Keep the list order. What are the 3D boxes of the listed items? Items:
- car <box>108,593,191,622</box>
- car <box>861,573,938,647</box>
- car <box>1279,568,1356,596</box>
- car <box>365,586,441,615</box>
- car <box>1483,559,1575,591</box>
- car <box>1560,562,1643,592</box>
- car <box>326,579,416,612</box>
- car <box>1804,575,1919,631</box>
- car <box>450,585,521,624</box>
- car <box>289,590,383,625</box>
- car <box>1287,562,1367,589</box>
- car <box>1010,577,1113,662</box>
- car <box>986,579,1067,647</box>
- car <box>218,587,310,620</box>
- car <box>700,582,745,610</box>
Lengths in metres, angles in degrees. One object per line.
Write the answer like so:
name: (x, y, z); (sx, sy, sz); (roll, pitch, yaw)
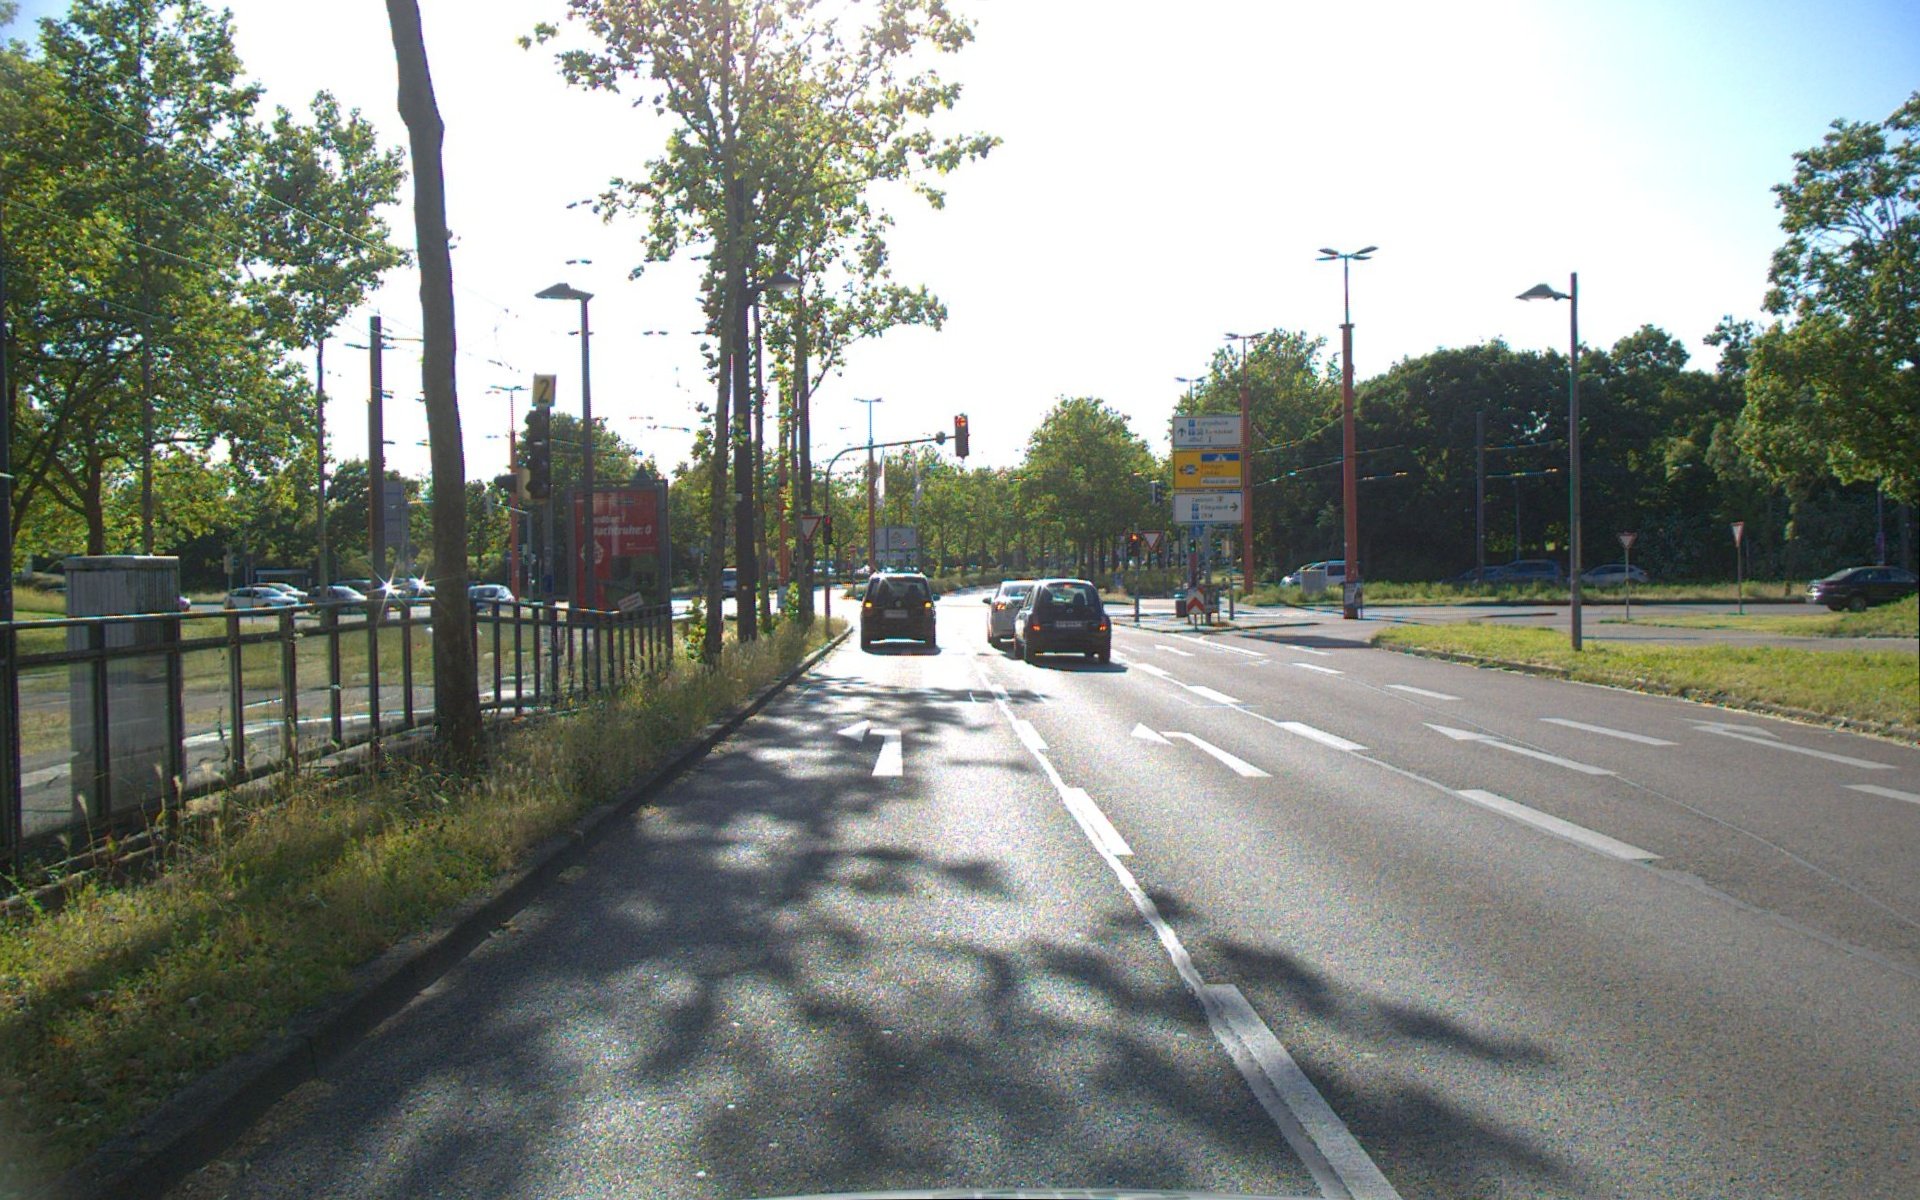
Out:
car: (-45.438, 0.410, 92.763); (3.949, 1.461, 1.817); (-1, 3, 17)
car: (-1.412, 0.208, 37.954); (1.676, 1.631, 3.348); (0, 0, -3)
car: (19.820, -1.002, 91.633); (3.907, 1.502, 1.788); (1, 0, 24)
car: (-33.056, 0.018, 98.153); (3.903, 1.649, 1.901); (0, 1, 17)
car: (28.812, -1.247, 83.738); (4.263, 1.586, 1.872); (1, 0, 23)
car: (33.025, -1.194, 85.152); (3.907, 1.521, 1.860); (1, 0, 25)
car: (-32.598, -0.231, 91.525); (4.390, 1.638, 1.902); (-1, 3, 17)
car: (30.918, 0.107, 55.237); (4.501, 1.823, 1.990); (1, 0, 10)
car: (-18.812, 0.161, 65.716); (1.597, 1.475, 3.719); (0, 0, 2)
car: (-33.077, 0.391, 87.692); (4.390, 1.638, 1.902); (-1, 3, 17)
car: (19.579, -1.304, 88.153); (3.907, 1.361, 1.728); (1, 0, 24)
car: (1.910, 0.335, 32.032); (1.606, 1.520, 3.501); (0, 1, -3)
car: (1.505, 0.281, 38.626); (1.644, 1.500, 4.130); (0, 0, -1)
car: (-38.045, 0.169, 90.392); (4.390, 1.639, 1.902); (-1, 2, 17)
car: (-15.362, -0.263, 107.268); (1.784, 1.811, 4.571); (0, 0, 7)
